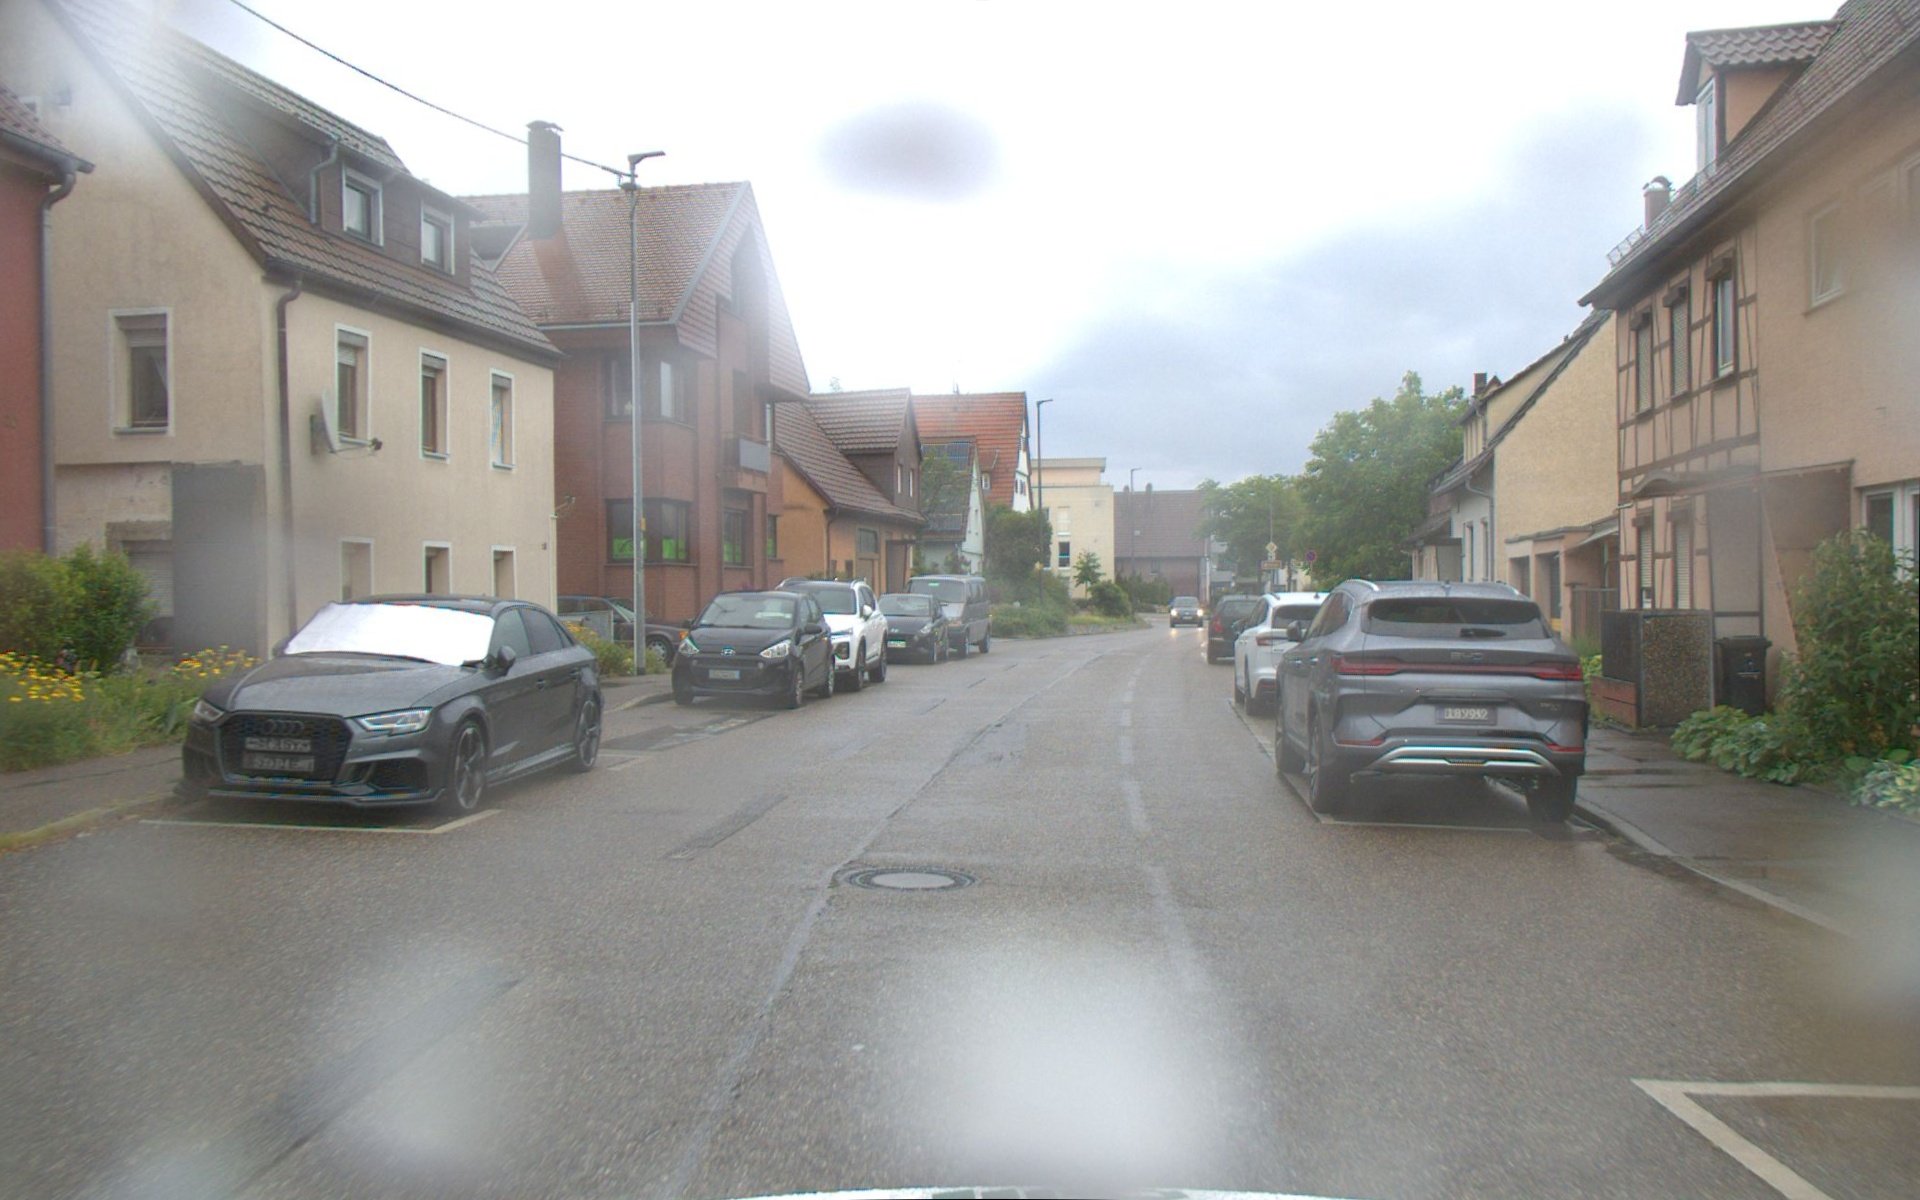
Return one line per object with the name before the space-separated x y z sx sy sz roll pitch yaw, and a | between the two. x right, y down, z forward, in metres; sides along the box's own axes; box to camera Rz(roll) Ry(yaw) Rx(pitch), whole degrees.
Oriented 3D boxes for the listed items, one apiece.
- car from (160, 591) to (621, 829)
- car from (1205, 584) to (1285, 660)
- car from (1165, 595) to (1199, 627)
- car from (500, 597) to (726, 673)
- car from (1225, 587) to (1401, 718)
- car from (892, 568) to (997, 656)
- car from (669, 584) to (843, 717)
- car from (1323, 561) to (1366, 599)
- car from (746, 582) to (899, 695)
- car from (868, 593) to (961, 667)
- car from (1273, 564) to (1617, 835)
car | -3.859 0.664 12.014 1.592 1.379 4.113 2 0 5
car | 6.849 0.518 40.025 1.712 1.740 4.003 -1 0 7
car | 12.291 0.593 91.506 1.759 1.669 4.003 1 0 9
car | -7.004 0.702 33.501 4.083 1.427 1.790 -1 0 13
car | 4.822 0.673 23.177 1.765 1.623 4.614 1 0 4
car | -0.302 0.284 41.348 1.782 2.049 5.218 -1 0 9
car | -2.656 0.634 22.212 1.571 1.646 3.279 -1 0 7
car | 15.456 -0.790 66.606 1.603 1.455 3.680 -1 0 12
car | -2.118 0.577 26.722 1.727 1.647 4.659 -1 0 4
car | -0.955 0.636 36.492 1.545 1.523 3.570 -1 0 7
car | 3.659 0.661 13.324 1.868 1.747 4.559 2 0 7
